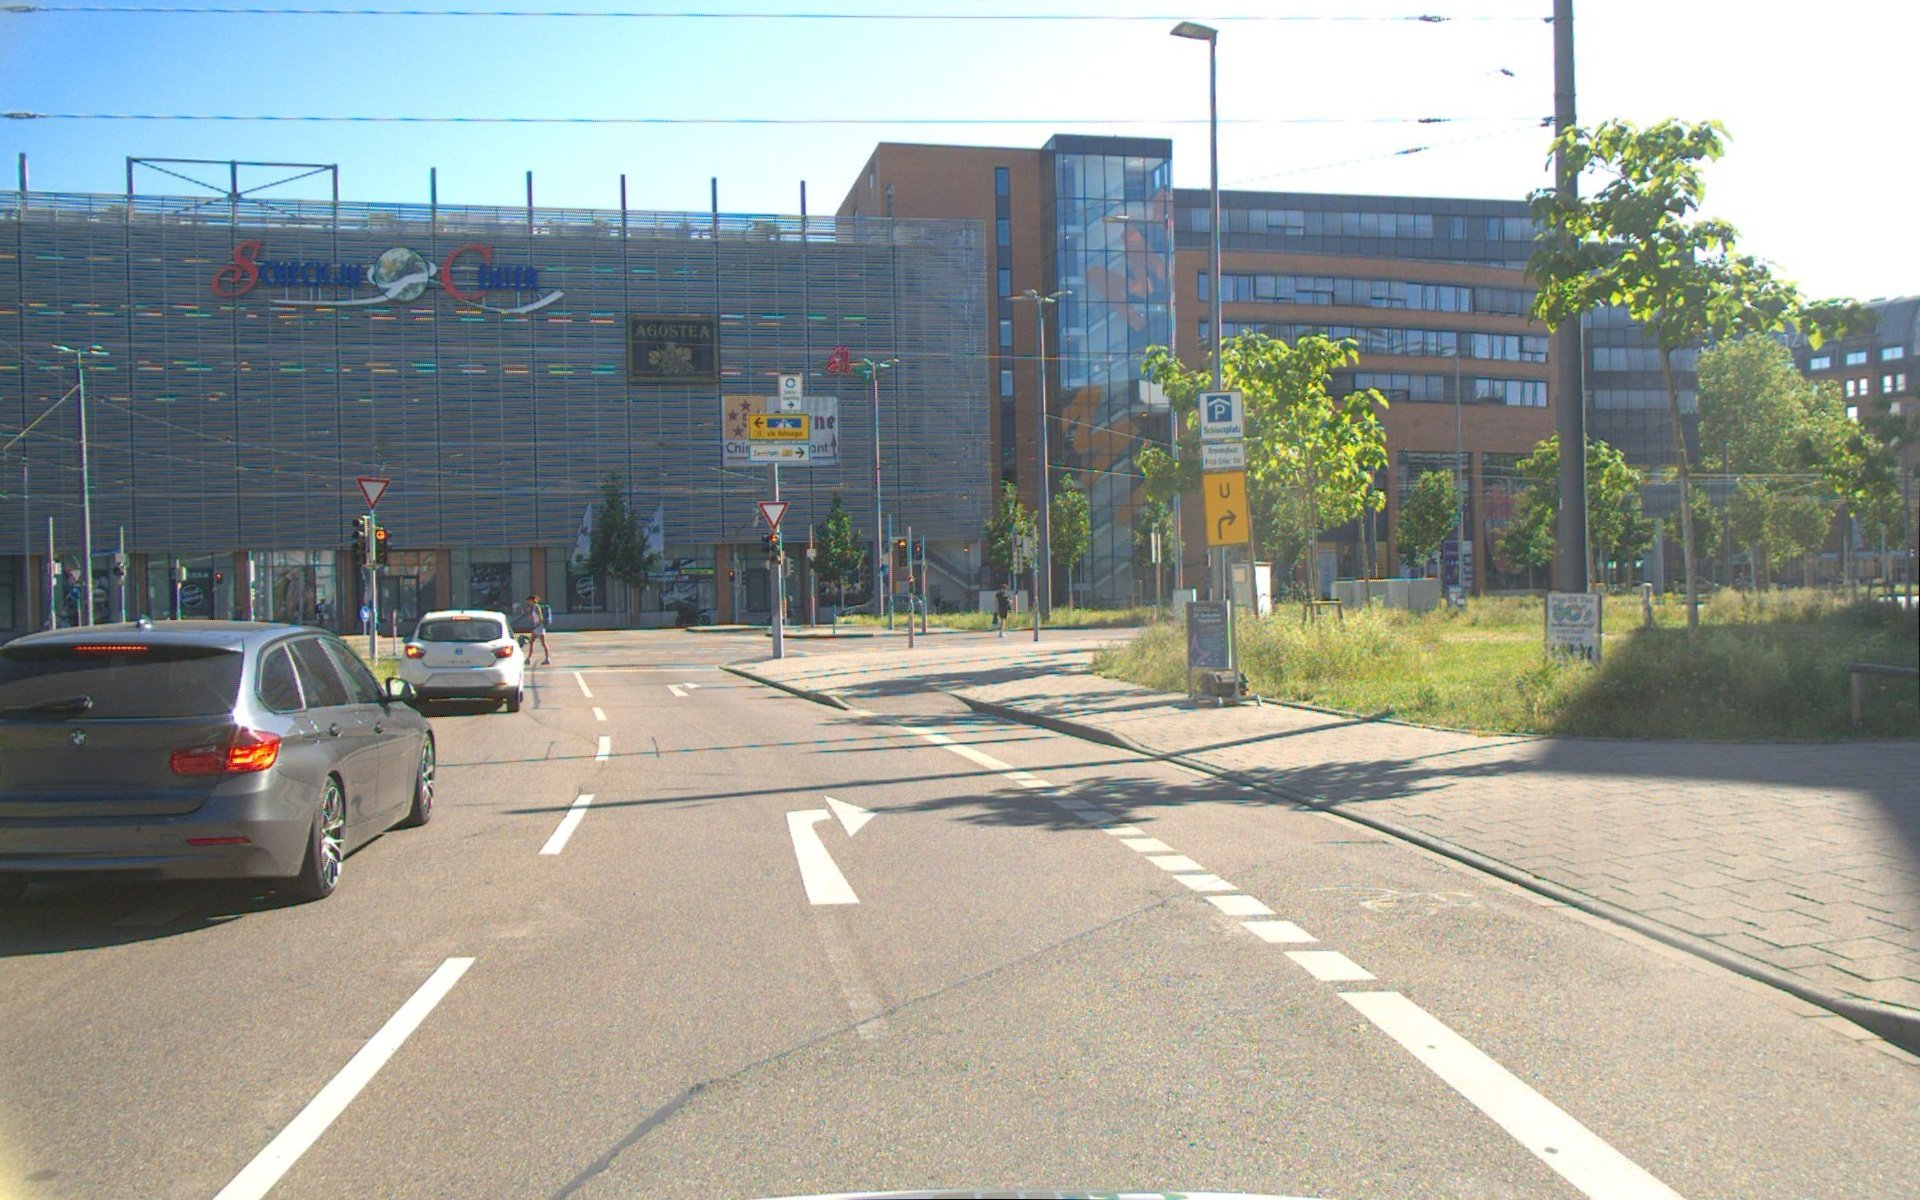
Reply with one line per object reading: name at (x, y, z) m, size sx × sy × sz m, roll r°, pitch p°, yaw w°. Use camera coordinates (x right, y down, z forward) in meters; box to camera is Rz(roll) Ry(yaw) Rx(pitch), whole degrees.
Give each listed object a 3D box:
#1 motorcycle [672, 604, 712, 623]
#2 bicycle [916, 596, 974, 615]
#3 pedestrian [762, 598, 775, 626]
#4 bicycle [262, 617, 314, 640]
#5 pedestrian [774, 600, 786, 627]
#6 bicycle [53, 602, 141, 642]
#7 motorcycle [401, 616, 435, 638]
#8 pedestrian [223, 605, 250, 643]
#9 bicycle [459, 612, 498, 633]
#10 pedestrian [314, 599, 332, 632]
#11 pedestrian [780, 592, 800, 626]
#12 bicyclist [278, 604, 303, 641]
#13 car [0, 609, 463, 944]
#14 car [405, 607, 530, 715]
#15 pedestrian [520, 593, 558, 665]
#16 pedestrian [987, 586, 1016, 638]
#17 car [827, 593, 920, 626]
motorcycle at (-15.321, 0.774, 94.581) m, size 2.166 × 1.061 × 1.057 m, roll 0°, pitch 0°, yaw -15°
bicycle at (-0.903, 0.326, 98.895) m, size 3.298 × 1.096 × 1.114 m, roll 0°, pitch 0°, yaw -9°
pedestrian at (-10.694, 0.684, 92.455) m, size 0.579 × 1.561 × 0.655 m, roll -1°, pitch 0°, yaw -15°
bicycle at (-33.854, 1.426, 83.396) m, size 1.025 × 1.089 × 2.238 m, roll -1°, pitch 0°, yaw 34°
pedestrian at (-10.123, 0.743, 92.897) m, size 0.579 × 1.488 × 0.655 m, roll -1°, pitch 0°, yaw -15°
bicycle at (-45.849, 1.144, 87.936) m, size 3.920 × 2.049 × 1.325 m, roll 0°, pitch 0°, yaw -15°
motorcycle at (-28.189, 1.403, 86.042) m, size 1.620 × 1.078 × 0.497 m, roll -1°, pitch 0°, yaw -6°
pedestrian at (-36.328, 1.203, 83.064) m, size 0.886 × 1.901 × 0.820 m, roll -1°, pitch 0°, yaw 28°
bicycle at (-26.554, 1.242, 91.227) m, size 1.993 × 1.078 × 1.140 m, roll -1°, pitch 0°, yaw -15°
pedestrian at (-34.798, 0.848, 90.344) m, size 0.834 × 1.794 × 0.617 m, roll -1°, pitch 0°, yaw -16°
pedestrian at (-9.075, 0.478, 88.170) m, size 0.841 × 1.768 × 0.749 m, roll -1°, pitch 0°, yaw -21°
bicyclist at (-33.786, 1.144, 83.481) m, size 0.799 × 1.834 × 0.842 m, roll -1°, pitch 0°, yaw 34°
car at (-4.126, 0.801, 9.485) m, size 1.701 × 1.448 × 4.460 m, roll 2°, pitch -1°, yaw -8°
car at (-7.226, 0.854, 24.533) m, size 1.605 × 1.448 × 3.767 m, roll 2°, pitch -1°, yaw -15°
pedestrian at (-10.394, 0.716, 40.860) m, size 0.871 × 1.737 × 0.710 m, roll -1°, pitch 0°, yaw -15°
pedestrian at (1.405, 0.417, 56.264) m, size 0.793 × 1.738 × 0.759 m, roll -1°, pitch 0°, yaw -15°
car at (-4.286, 0.464, 81.937) m, size 4.412 × 1.521 × 1.489 m, roll -1°, pitch 0°, yaw -15°
